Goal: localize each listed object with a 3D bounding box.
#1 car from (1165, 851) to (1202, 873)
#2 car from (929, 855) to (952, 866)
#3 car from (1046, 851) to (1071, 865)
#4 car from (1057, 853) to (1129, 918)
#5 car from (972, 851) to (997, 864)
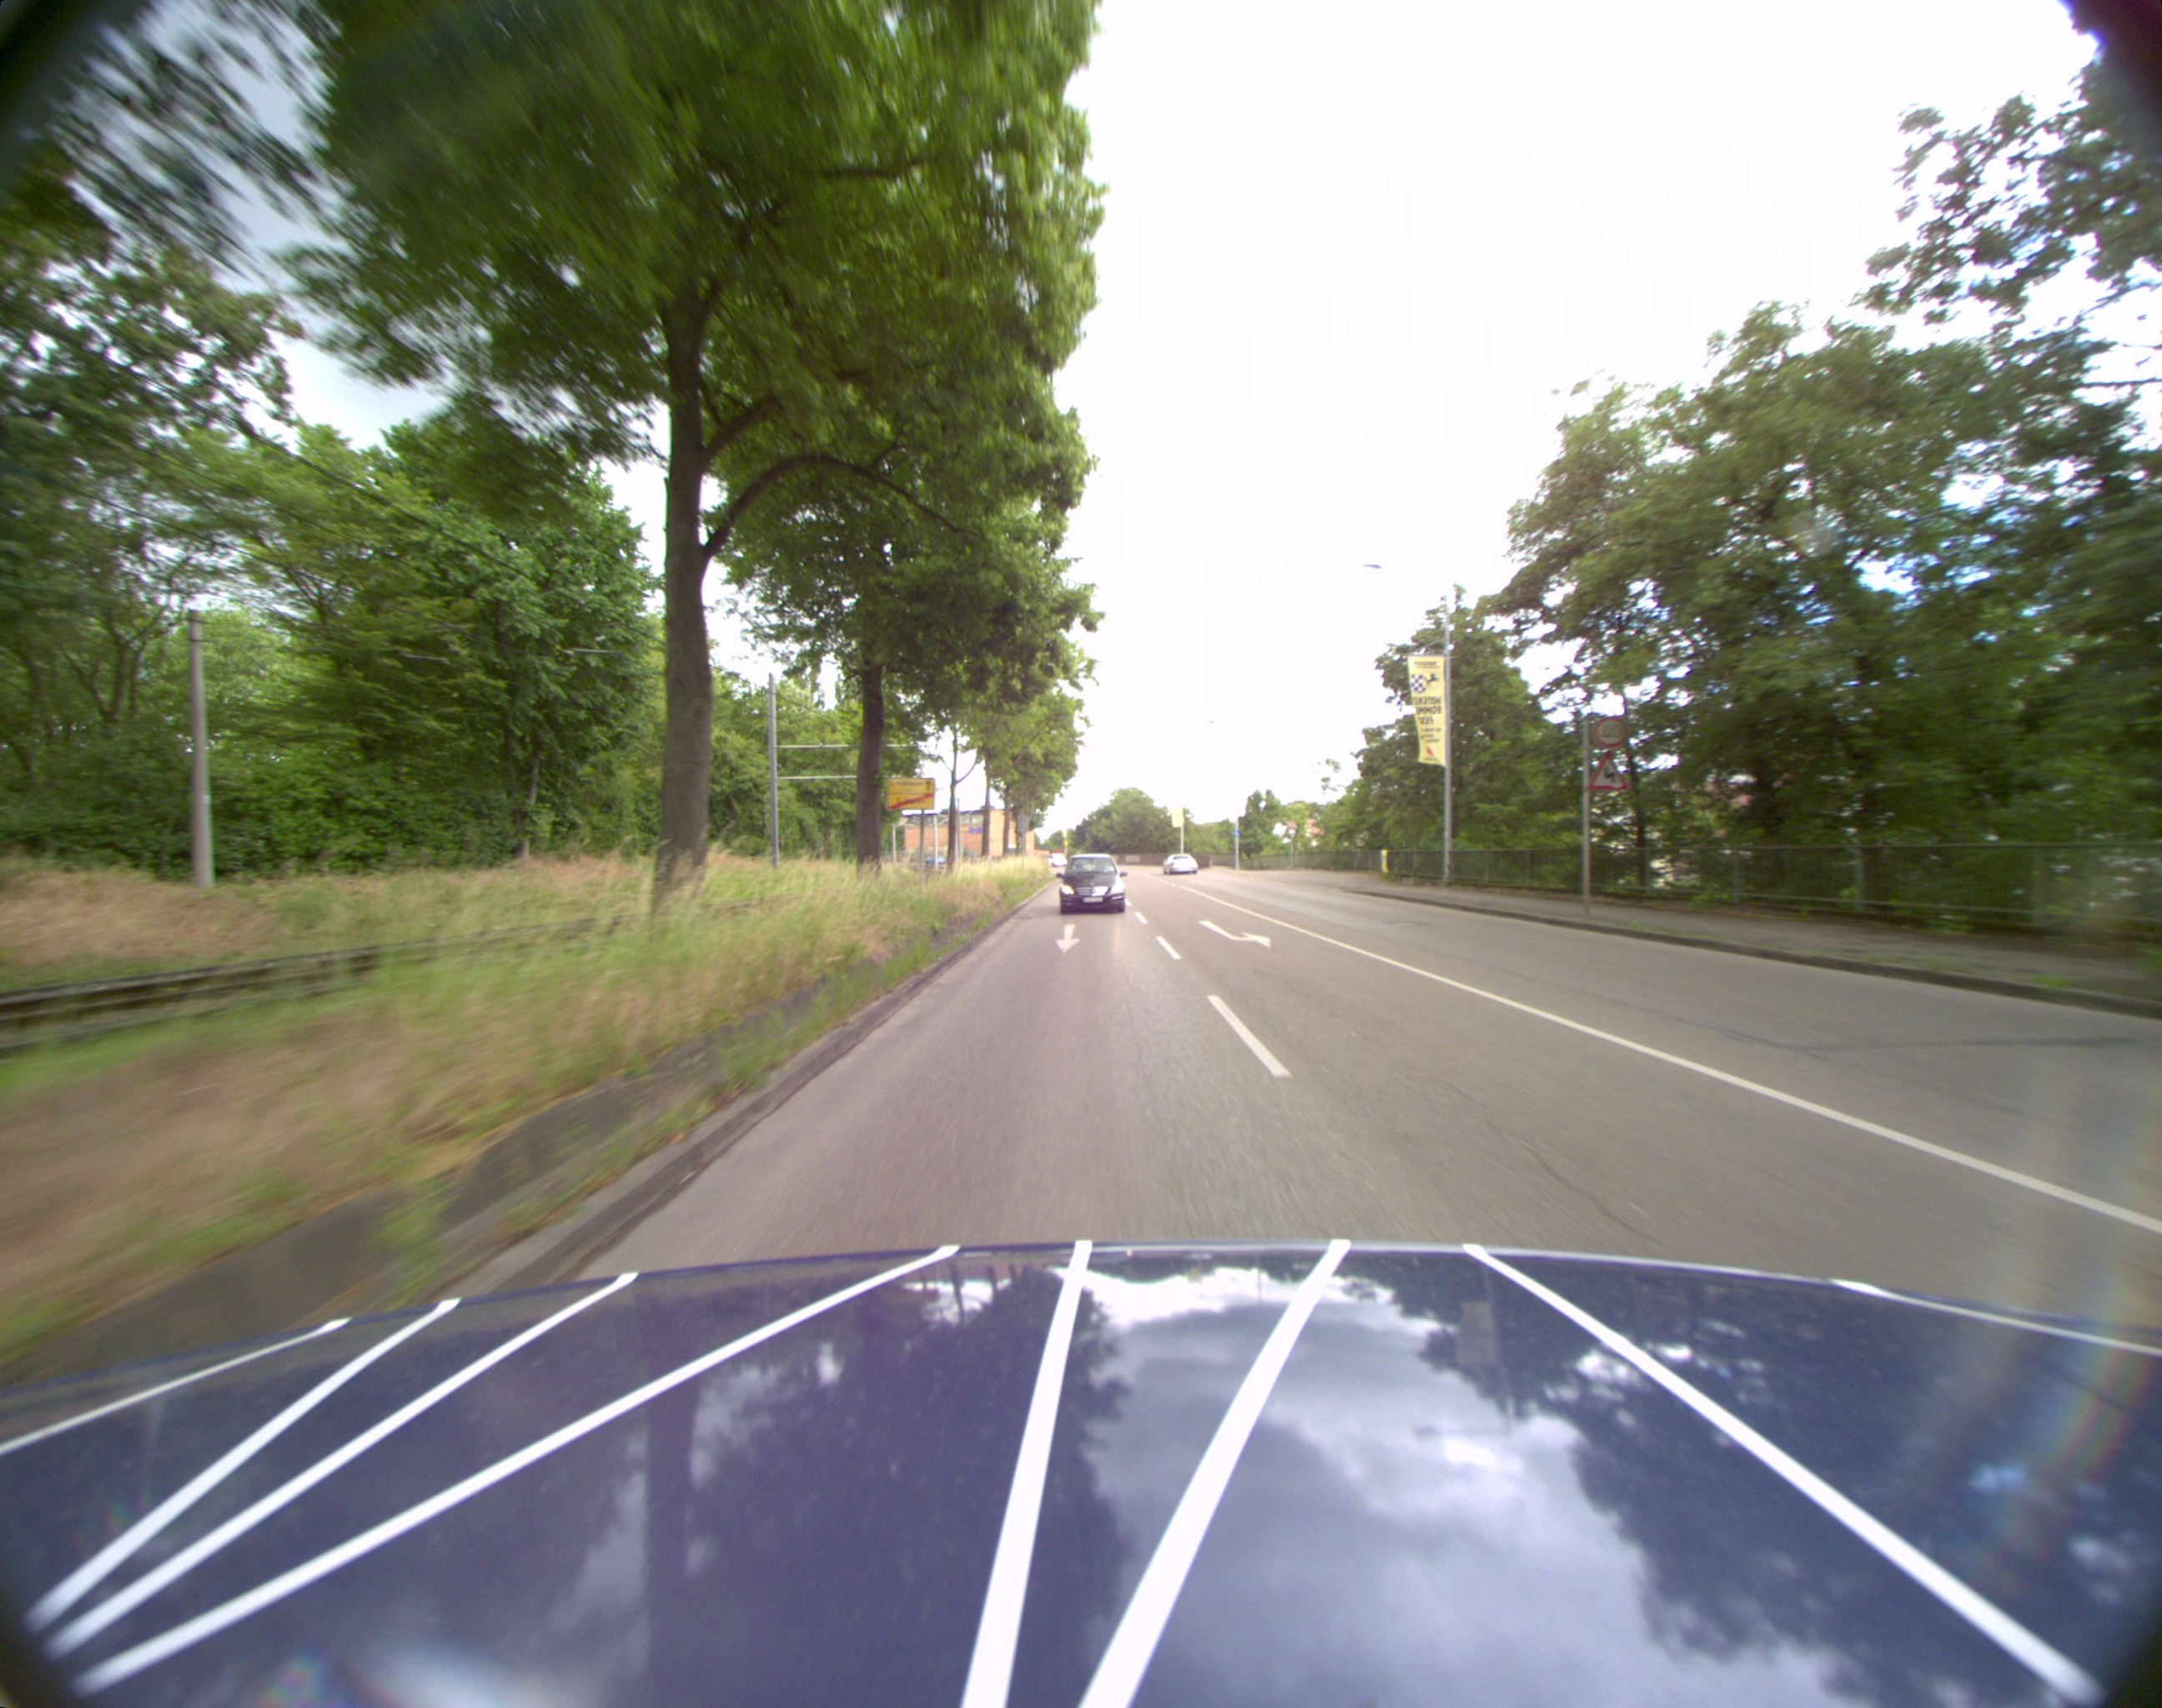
[{"bbox_3d":[6.689,0.496,49.881,1.763,1.329,3.695,-3,0,-1],"label":"car"},{"bbox_3d":[-21.567,0.957,116.452,1.588,1.477,3.686,-4,1,-44],"label":"car"},{"bbox_3d":[-2.708,0.469,91.221,1.588,1.456,3.689,5,-2,-23],"label":"car"},{"bbox_3d":[0.252,0.822,21.793,1.751,1.556,4.073,-3,1,-2],"label":"car"},{"bbox_3d":[-13.761,0.495,107.978,1.728,1.598,4.004,-3,1,-36],"label":"car"}]
